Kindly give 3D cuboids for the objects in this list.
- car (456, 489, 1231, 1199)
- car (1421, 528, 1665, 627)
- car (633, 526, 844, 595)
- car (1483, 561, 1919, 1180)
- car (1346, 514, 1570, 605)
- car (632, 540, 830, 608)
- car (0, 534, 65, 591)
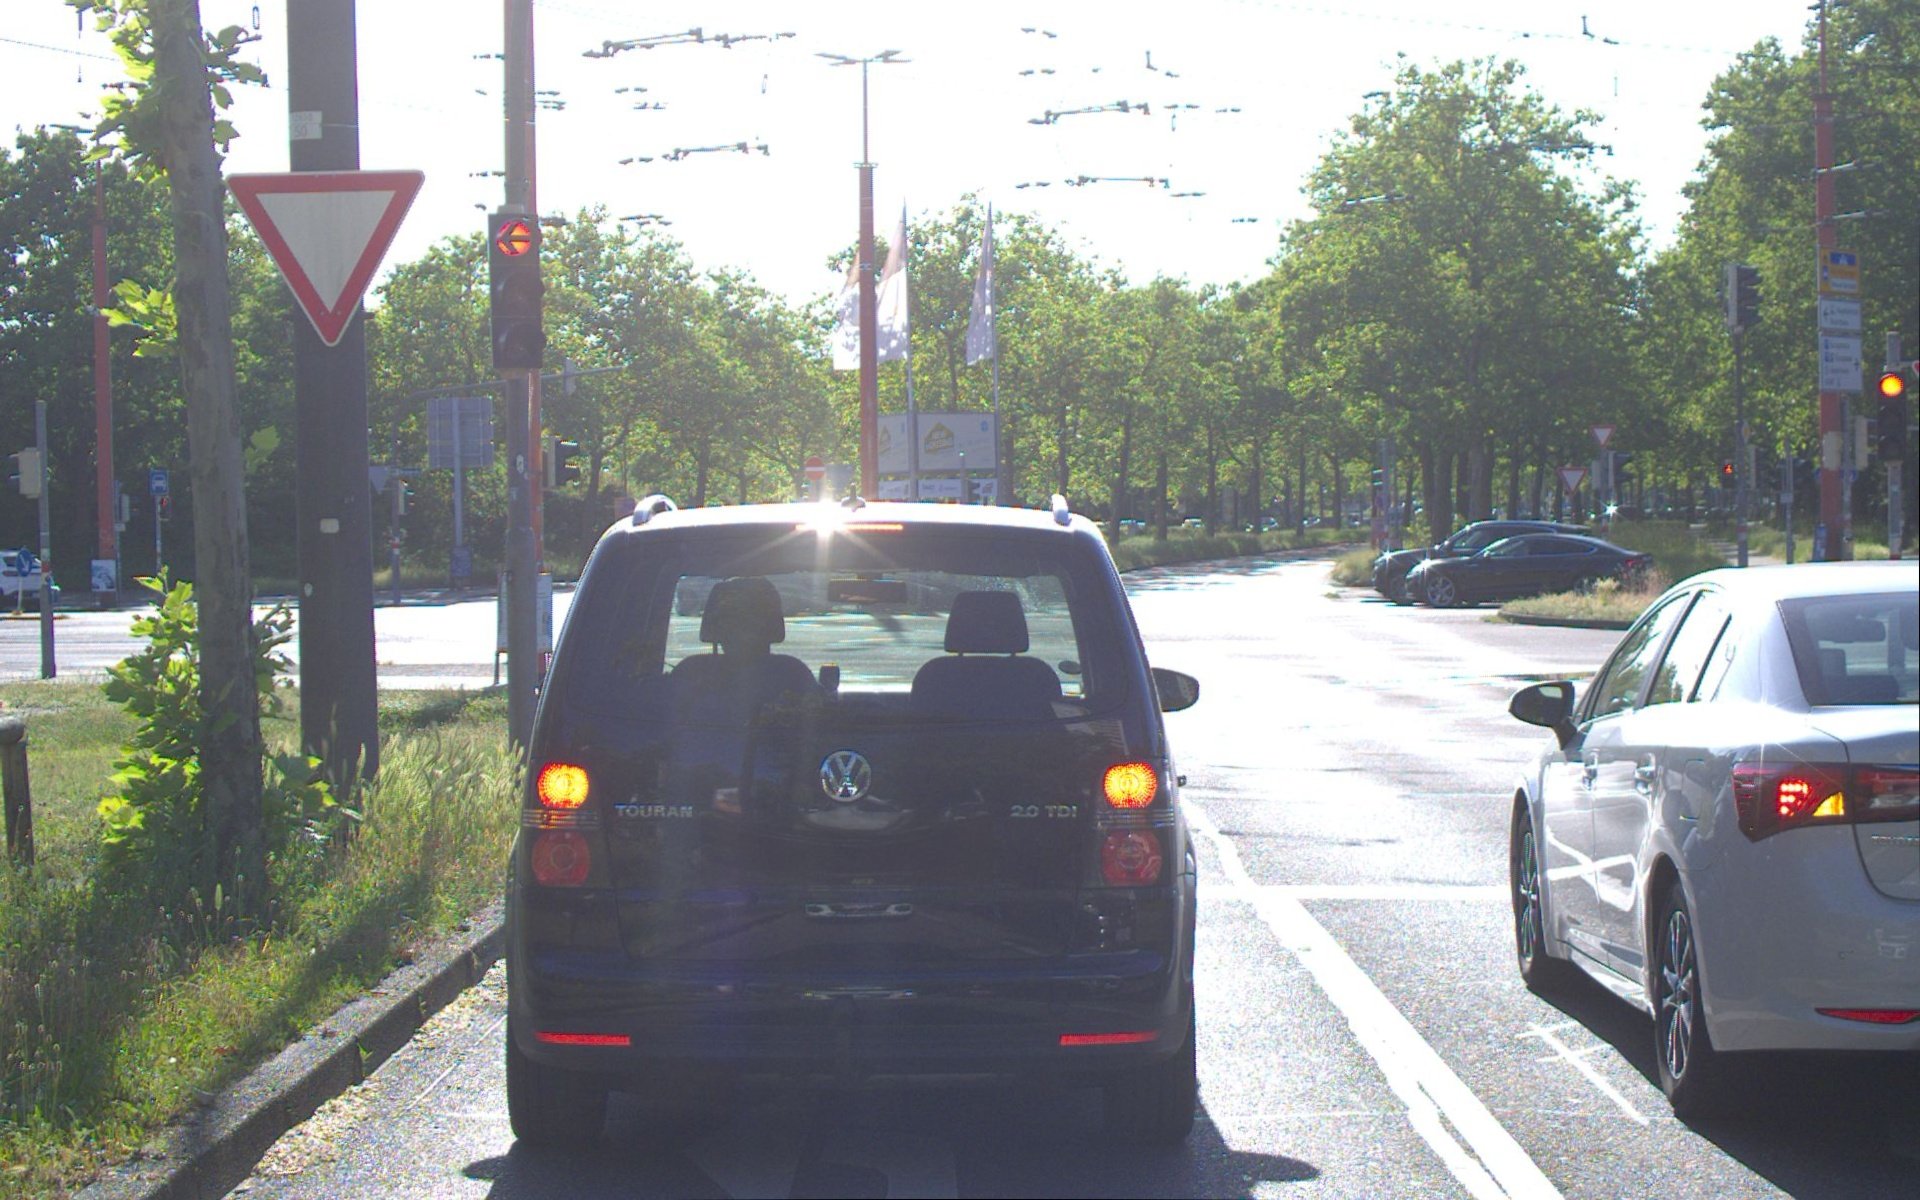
[{"bbox_3d":[-0.247,0.536,9.972,1.738,1.597,4.326,1,1,1],"label":"car"},{"bbox_3d":[10.910,-0.445,64.421,4.126,1.784,1.795,1,1,32],"label":"car"},{"bbox_3d":[-4.632,-0.833,71.802,4.125,1.398,1.654,1,1,27],"label":"car"},{"bbox_3d":[2.764,0.617,10.151,1.799,1.435,4.326,1,1,1],"label":"car"},{"bbox_3d":[10.042,-0.829,69.319,4.124,1.784,1.796,1,1,26],"label":"car"},{"bbox_3d":[-5.087,-0.590,76.357,4.124,1.466,1.654,1,1,26],"label":"car"},{"bbox_3d":[-24.528,-0.966,86.209,3.796,1.398,1.655,1,1,23],"label":"car"}]
